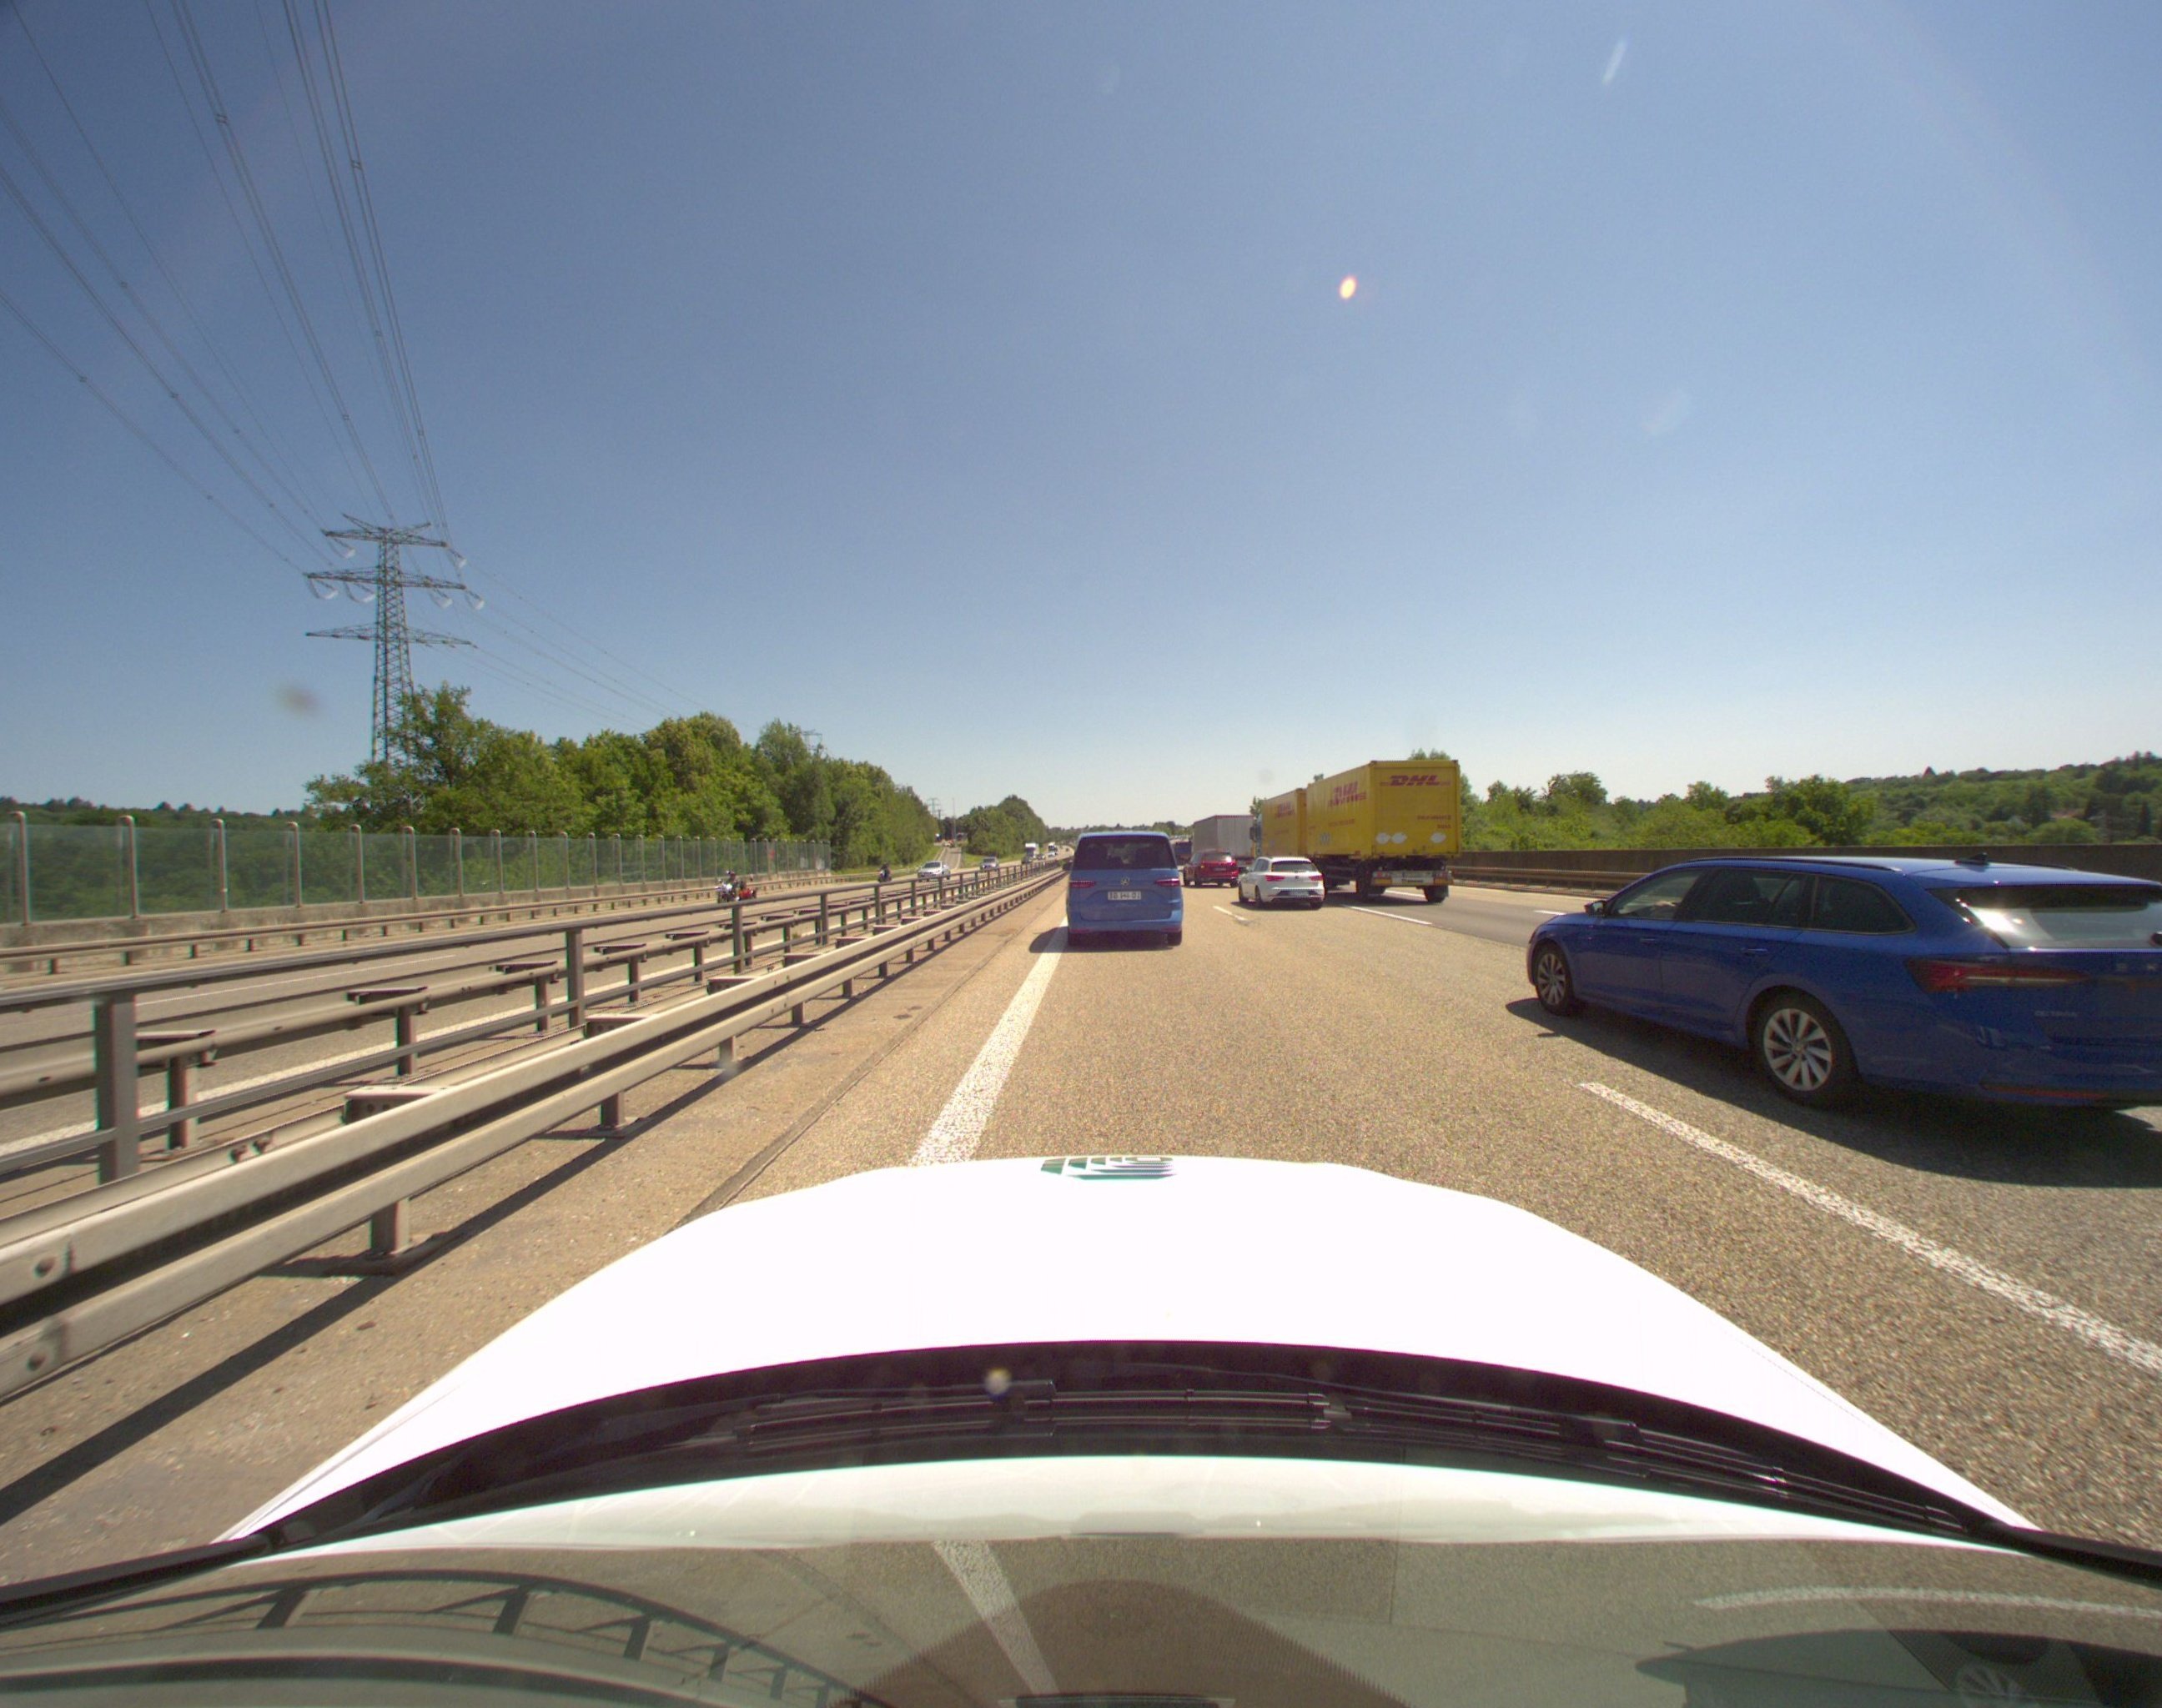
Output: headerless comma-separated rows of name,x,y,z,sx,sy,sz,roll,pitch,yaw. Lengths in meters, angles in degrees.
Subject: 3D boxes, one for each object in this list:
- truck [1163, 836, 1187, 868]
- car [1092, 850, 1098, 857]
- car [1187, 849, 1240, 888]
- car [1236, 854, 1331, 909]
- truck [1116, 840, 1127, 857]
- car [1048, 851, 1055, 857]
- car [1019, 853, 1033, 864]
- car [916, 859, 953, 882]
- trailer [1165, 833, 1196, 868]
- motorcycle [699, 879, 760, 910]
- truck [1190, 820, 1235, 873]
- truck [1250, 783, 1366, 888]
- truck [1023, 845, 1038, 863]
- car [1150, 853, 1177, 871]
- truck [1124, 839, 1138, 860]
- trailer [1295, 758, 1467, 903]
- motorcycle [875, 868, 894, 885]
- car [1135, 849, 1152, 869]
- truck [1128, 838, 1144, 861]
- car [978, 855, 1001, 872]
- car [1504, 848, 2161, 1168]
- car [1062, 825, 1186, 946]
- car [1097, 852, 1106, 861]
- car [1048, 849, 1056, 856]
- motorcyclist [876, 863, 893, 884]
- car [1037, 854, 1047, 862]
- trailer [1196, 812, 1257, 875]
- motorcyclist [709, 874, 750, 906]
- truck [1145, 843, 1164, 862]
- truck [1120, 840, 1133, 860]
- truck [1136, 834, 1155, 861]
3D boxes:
truck,11.330,-0.255,98.364,2.359,3.722,6.035,0,-1,1
car,3.788,-0.125,218.516,1.733,1.910,3.682,0,-1,1
car,5.854,0.597,36.430,1.844,1.608,4.002,-1,0,2
car,5.640,0.719,23.141,1.774,1.387,4.190,-1,0,2
truck,12.263,-1.586,247.190,2.824,5.040,12.912,0,-1,1
car,-8.651,0.032,240.115,1.915,1.688,4.123,-4,0,1
car,-8.924,0.716,133.093,1.823,1.609,4.170,-4,0,1
car,-10.688,1.179,59.549,1.709,1.434,4.177,-4,0,2
trailer,11.171,-0.308,92.549,2.371,3.744,11.191,0,-1,1
motorcycle,-15.236,1.751,35.414,1.361,1.099,2.577,-4,0,1
truck,10.687,-0.559,66.804,2.758,4.095,6.986,0,0,2
truck,9.902,-0.678,36.841,2.711,4.054,10.341,0,-1,2
truck,-12.662,0.048,203.540,2.978,4.279,7.191,-2,0,1
car,6.964,0.646,69.178,1.832,1.414,4.000,-1,0,0
truck,12.396,-1.073,204.597,2.824,4.886,13.219,0,-1,1
trailer,9.546,-0.625,27.182,2.691,4.023,8.934,0,-1,2
motorcycle,-14.505,1.643,60.199,0.699,1.070,2.306,-3,1,2
car,6.609,0.556,86.019,1.577,2.014,3.495,0,-1,2
truck,12.248,-0.873,183.285,2.824,5.040,11.816,0,-1,0
car,-9.886,1.033,87.975,1.823,1.609,4.170,-5,0,1
car,5.062,0.701,5.974,1.703,1.440,4.502,-1,0,2
car,0.734,0.489,14.602,1.875,1.837,4.002,-1,0,2
car,4.774,0.498,187.444,1.986,2.014,4.001,0,-1,1
car,-8.477,-0.430,240.561,1.915,1.688,4.123,-4,0,1
motorcyclist,-14.490,1.438,60.177,0.894,1.441,1.083,-2,1,1
car,-8.746,0.863,183.485,1.823,1.609,4.170,-3,0,1
trailer,10.473,-0.652,59.772,2.744,4.146,11.316,0,-1,2
motorcyclist,-15.230,1.544,35.348,1.182,1.256,1.119,-4,0,1
truck,12.552,-0.245,140.023,2.347,3.218,9.740,0,-1,0
truck,12.387,-1.071,222.668,2.824,5.373,12.554,0,-1,0
truck,12.329,-1.090,157.283,2.824,5.040,11.145,0,-1,0
